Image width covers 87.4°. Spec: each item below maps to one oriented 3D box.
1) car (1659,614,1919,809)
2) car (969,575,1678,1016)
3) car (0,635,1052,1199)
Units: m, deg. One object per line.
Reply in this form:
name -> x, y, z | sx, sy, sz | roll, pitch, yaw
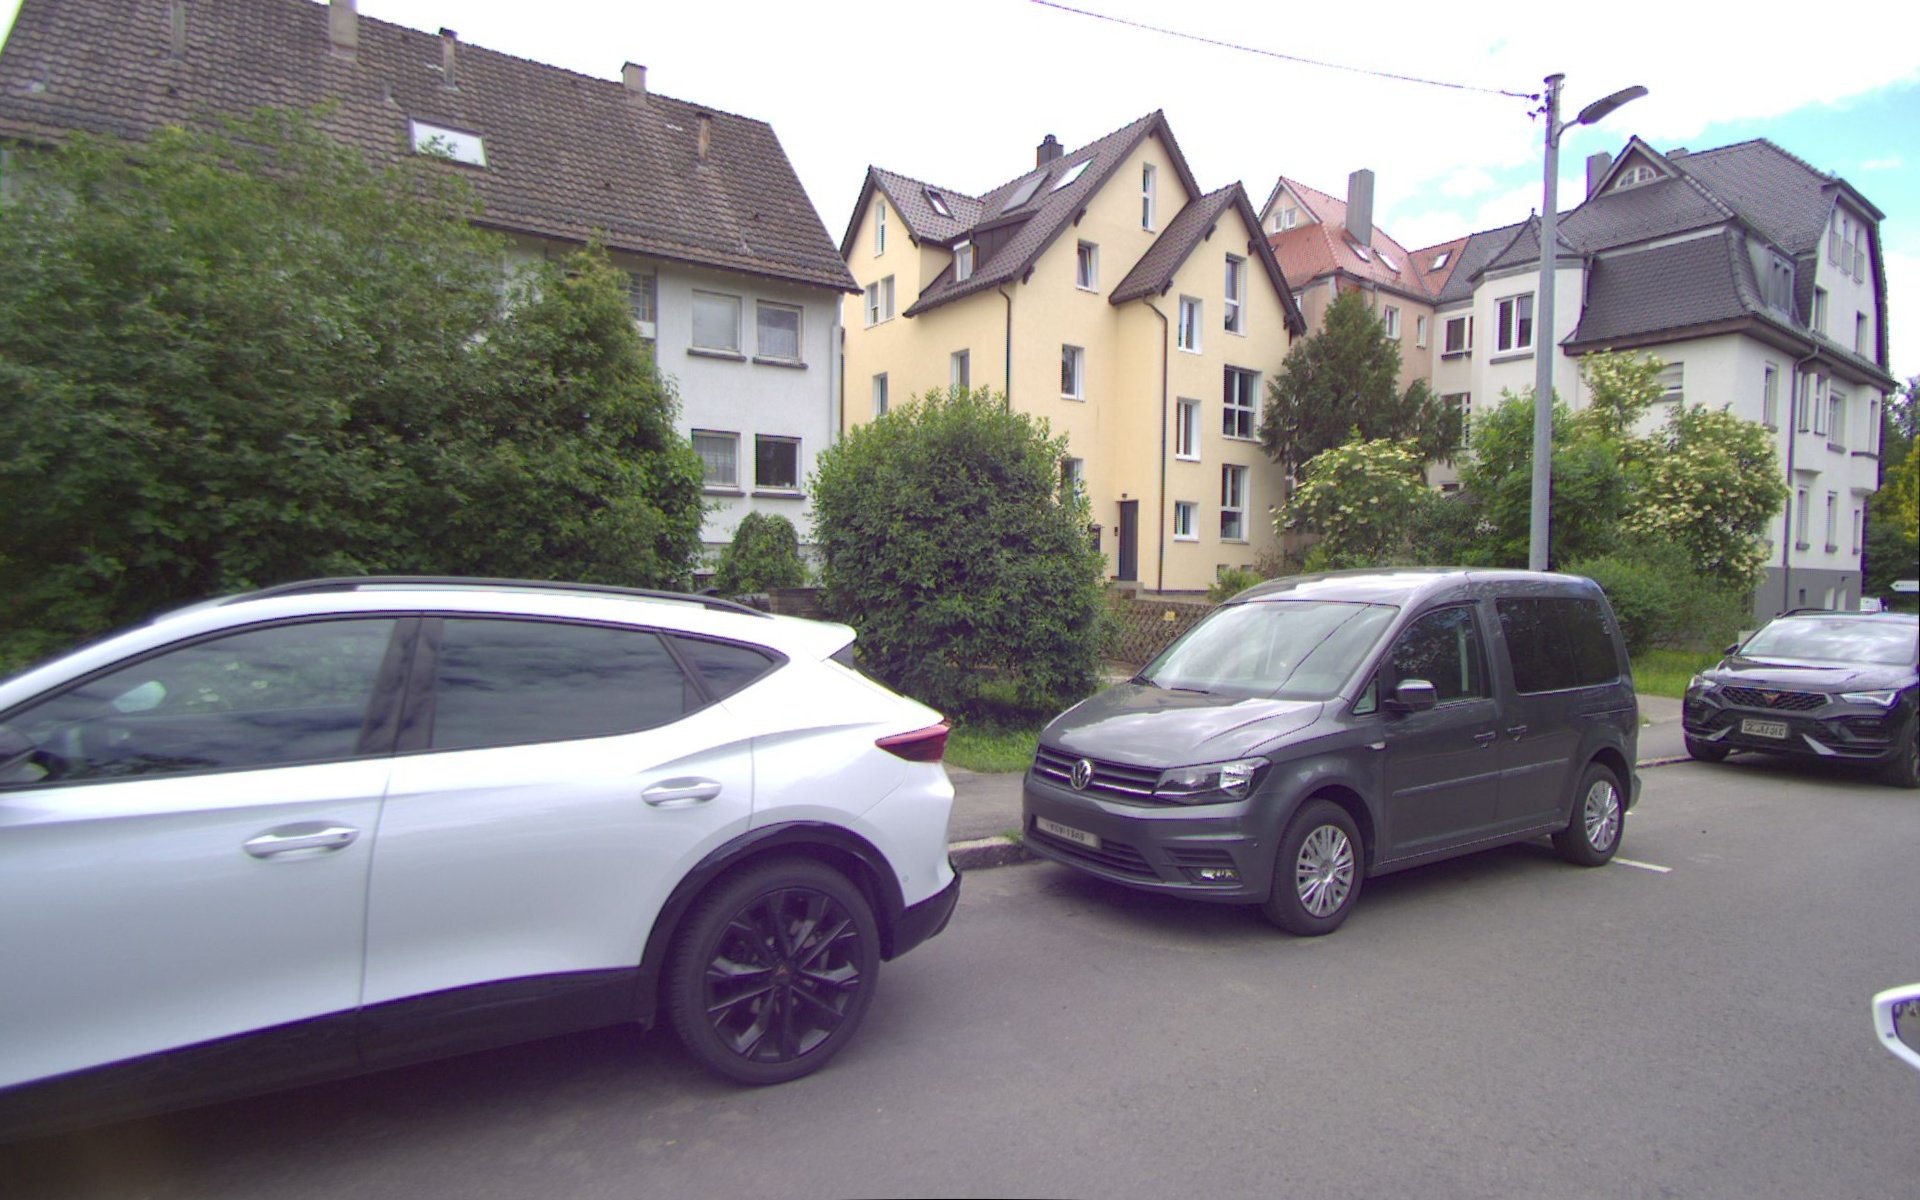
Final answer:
car -> 9.305, 0.998, 10.521 | 4.178, 1.637, 1.805 | 1, 0, -33
car -> 2.337, 0.833, 6.028 | 4.339, 1.787, 1.778 | 1, -1, -33
car -> -1.979, 0.940, 3.141 | 4.318, 1.519, 1.779 | -1, 0, -31
